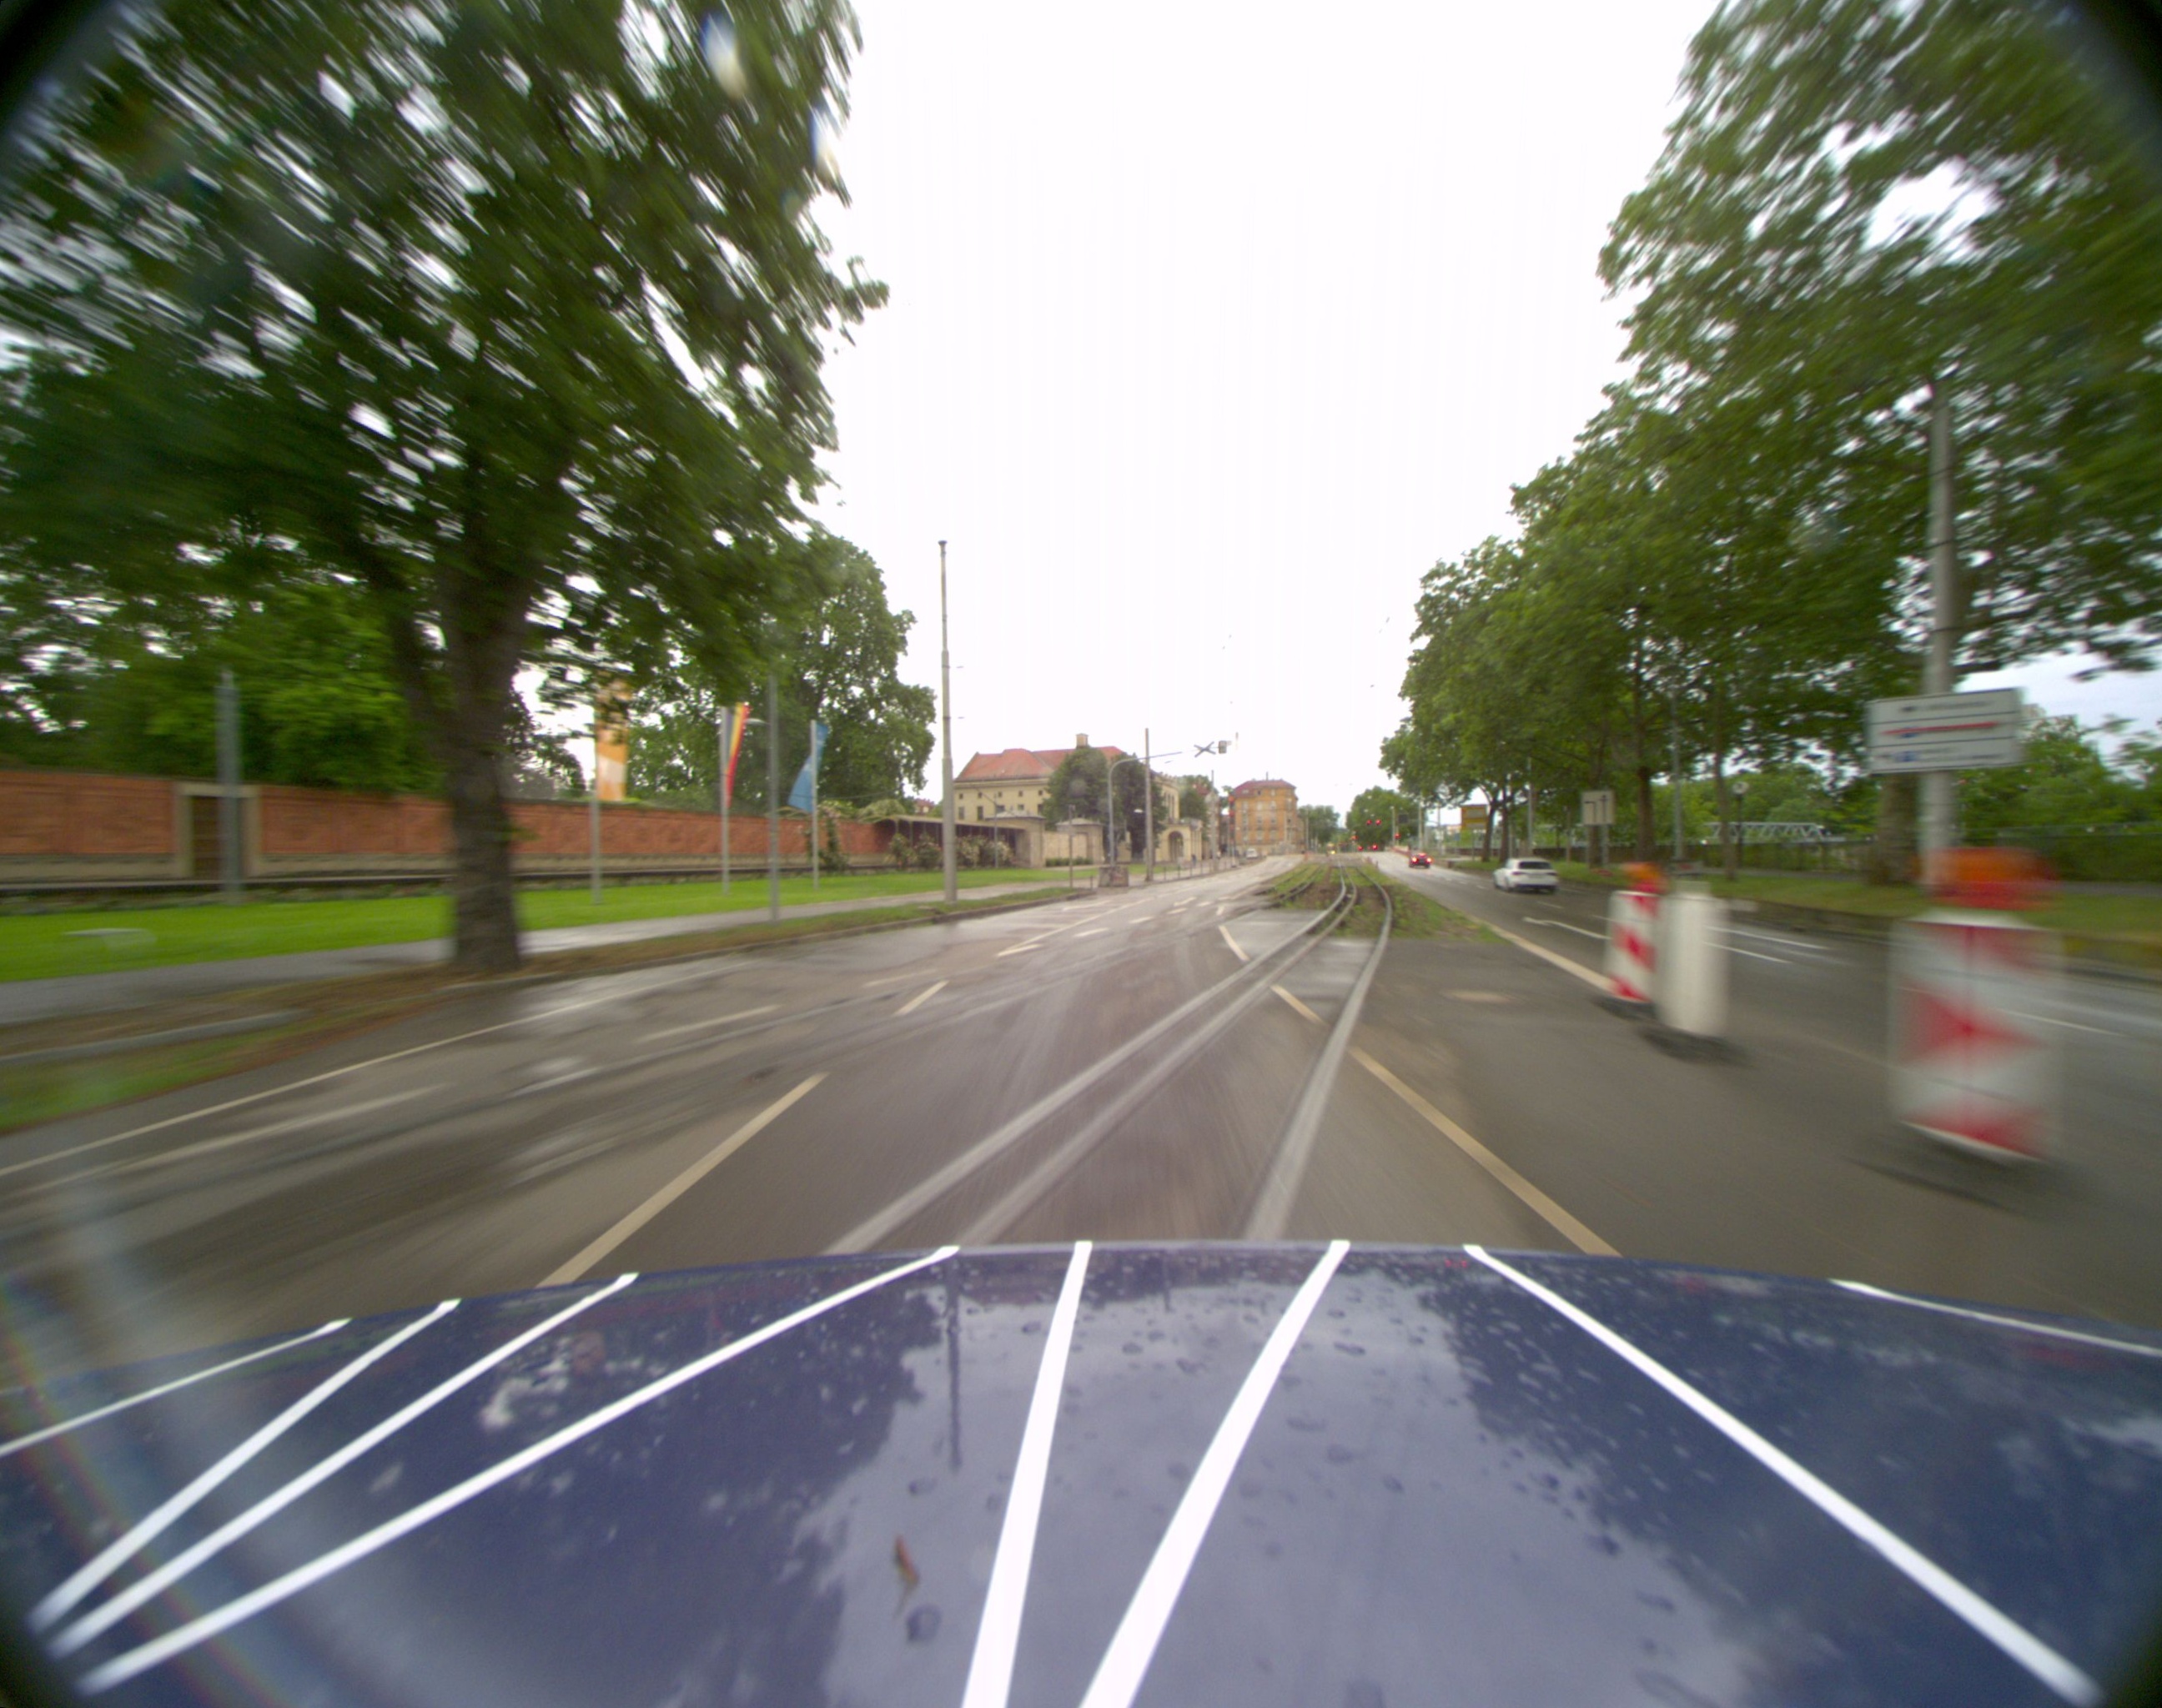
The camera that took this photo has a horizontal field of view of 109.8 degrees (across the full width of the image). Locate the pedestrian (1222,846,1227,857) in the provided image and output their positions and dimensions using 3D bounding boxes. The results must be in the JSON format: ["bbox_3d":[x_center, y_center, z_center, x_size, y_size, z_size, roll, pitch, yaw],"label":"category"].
[{"bbox_3d":[22.303,-0.409,118.174,0.594,1.726,0.840,-1,1,16],"label":"pedestrian"}]

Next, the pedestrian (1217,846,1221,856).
[{"bbox_3d":[21.481,-0.468,118.411,0.628,1.635,0.781,-1,1,12],"label":"pedestrian"}]

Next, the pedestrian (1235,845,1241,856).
[{"bbox_3d":[28.142,-0.628,136.406,0.782,1.796,0.697,-3,1,-22],"label":"pedestrian"}]

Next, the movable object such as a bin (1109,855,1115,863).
[{"bbox_3d":[3.555,0.552,86.327,0.342,0.867,1.193,0,1,19],"label":"movable object such as a bin"}]

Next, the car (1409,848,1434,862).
[{"bbox_3d":[33.914,0.075,75.769,1.748,1.421,4.566,0,1,17],"label":"car"}]

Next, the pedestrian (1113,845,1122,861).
[{"bbox_3d":[4.095,-0.111,85.795,0.729,1.701,0.982,0,1,19],"label":"pedestrian"}]

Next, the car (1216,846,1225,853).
[{"bbox_3d":[29.827,-0.972,162.165,1.828,1.573,4.003,-1,1,13],"label":"car"}]

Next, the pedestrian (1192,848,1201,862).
[{"bbox_3d":[13.677,0.125,90.096,0.863,1.581,0.670,2,2,45],"label":"pedestrian"}]

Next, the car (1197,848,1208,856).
[{"bbox_3d":[24.373,-0.441,152.637,1.862,1.539,4.069,-2,1,12],"label":"car"}]

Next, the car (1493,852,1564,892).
[{"bbox_3d":[18.753,0.676,32.038,1.710,1.490,4.726,1,1,20],"label":"car"}]

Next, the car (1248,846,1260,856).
[{"bbox_3d":[29.883,-0.499,131.311,1.841,1.630,4.146,-4,0,14],"label":"car"}]

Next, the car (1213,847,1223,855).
[{"bbox_3d":[27.407,-0.630,151.594,1.828,1.573,4.003,-1,1,13],"label":"car"}]

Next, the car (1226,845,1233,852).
[{"bbox_3d":[39.547,-1.442,202.029,1.828,1.573,4.003,-1,1,13],"label":"car"}]
